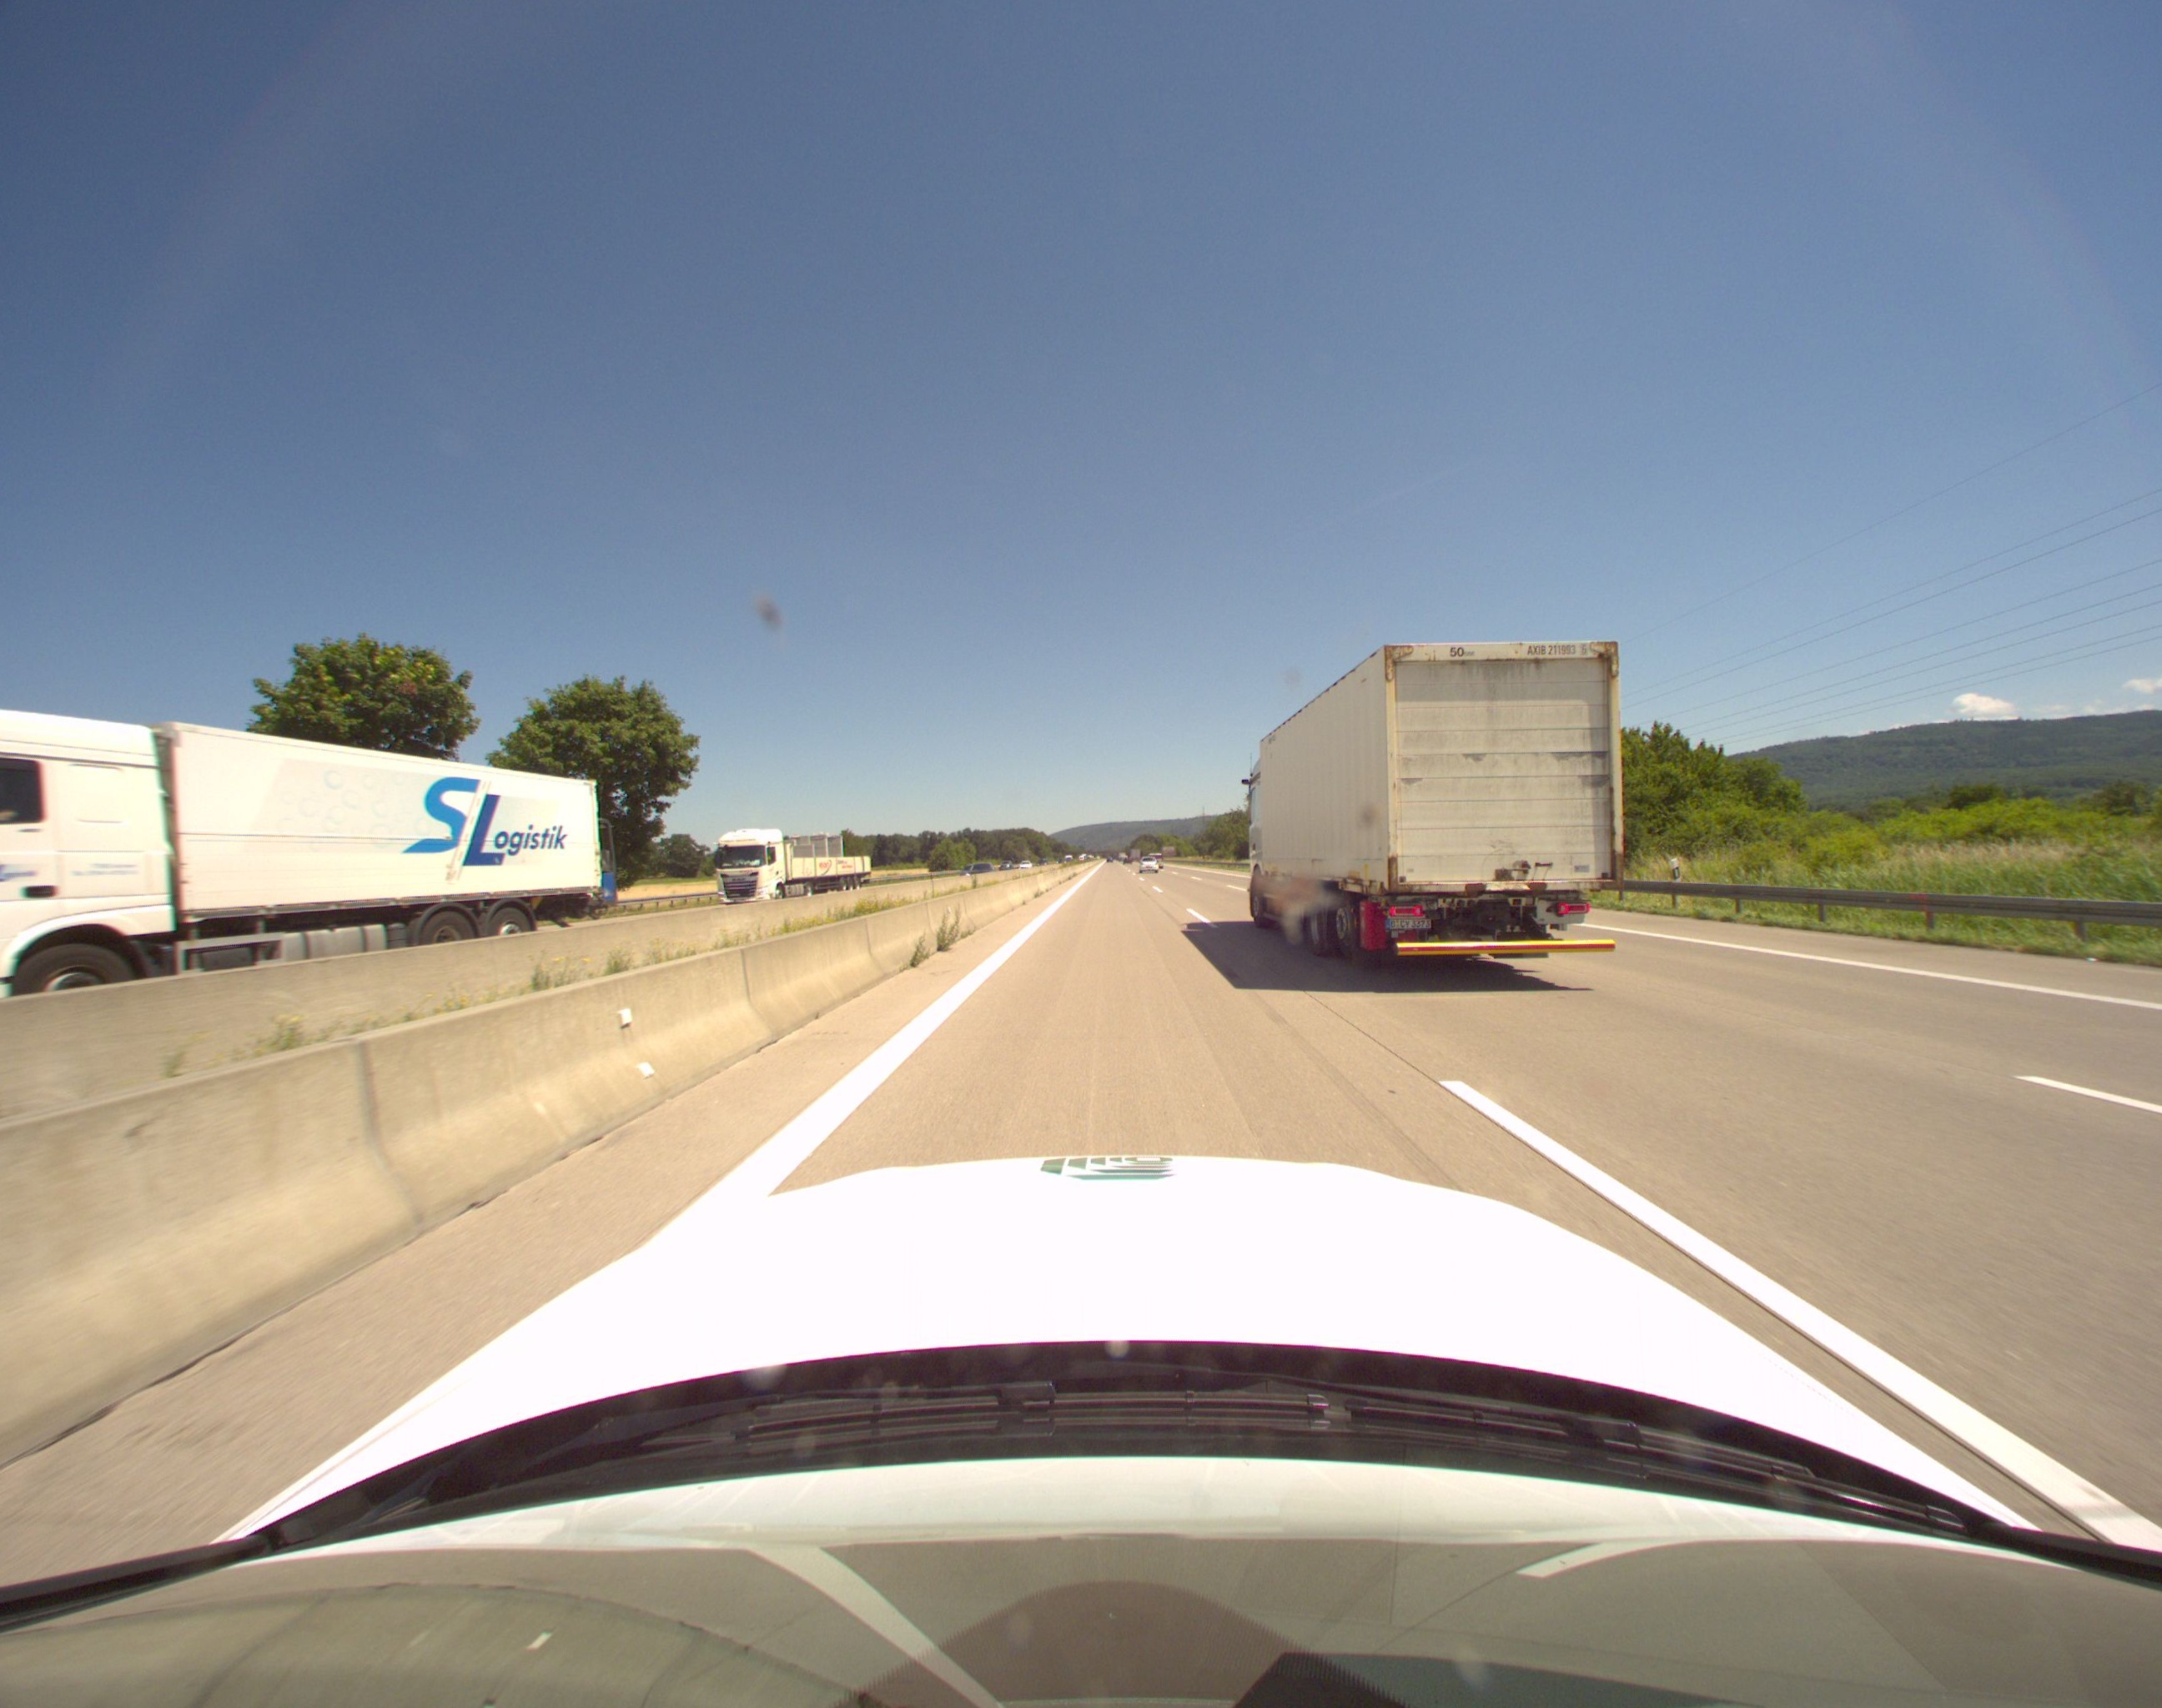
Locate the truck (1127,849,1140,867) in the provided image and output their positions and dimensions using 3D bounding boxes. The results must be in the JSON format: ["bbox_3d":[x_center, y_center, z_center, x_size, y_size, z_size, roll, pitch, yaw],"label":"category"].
[{"bbox_3d":[16.861,1.241,260.756,3.708,5.811,7.053,0,0,0],"label":"truck"}]

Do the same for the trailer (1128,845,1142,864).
[{"bbox_3d":[16.781,0.251,253.875,3.708,5.811,12.161,0,0,1],"label":"trailer"}]

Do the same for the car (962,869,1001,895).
[{"bbox_3d":[-7.017,1.944,57.994,1.986,1.717,5.027,0,0,2],"label":"car"}]

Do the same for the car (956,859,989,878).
[{"bbox_3d":[-9.928,1.308,74.713,1.955,1.717,5.132,-1,0,4],"label":"car"}]

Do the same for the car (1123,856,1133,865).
[{"bbox_3d":[9.804,1.355,170.365,1.987,1.849,4.000,1,0,1],"label":"car"}]

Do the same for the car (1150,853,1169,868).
[{"bbox_3d":[9.682,0.761,100.530,1.986,1.849,4.001,0,0,1],"label":"car"}]

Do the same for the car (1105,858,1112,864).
[{"bbox_3d":[7.937,2.005,231.749,1.922,1.794,4.001,0,0,1],"label":"car"}]

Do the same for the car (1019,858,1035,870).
[{"bbox_3d":[-8.255,1.564,124.787,1.987,1.717,4.611,0,-2,0],"label":"car"}]

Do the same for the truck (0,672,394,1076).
[{"bbox_3d":[-12.022,0.211,9.950,2.890,3.970,5.047,0,0,1],"label":"truck"}]

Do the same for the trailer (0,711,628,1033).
[{"bbox_3d":[-11.898,0.237,14.348,2.890,3.970,8.480,0,0,2],"label":"trailer"}]

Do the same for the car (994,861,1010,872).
[{"bbox_3d":[-12.767,2.002,131.968,1.987,1.717,4.301,0,0,1],"label":"car"}]

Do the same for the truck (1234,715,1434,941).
[{"bbox_3d":[4.815,-0.445,16.507,2.572,3.877,4.985,0,0,1],"label":"truck"}]

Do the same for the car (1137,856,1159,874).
[{"bbox_3d":[6.322,1.009,77.011,1.813,1.662,4.001,-1,0,1],"label":"car"}]

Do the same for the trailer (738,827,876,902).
[{"bbox_3d":[-15.165,0.526,46.860,2.792,3.683,13.756,0,0,2],"label":"trailer"}]

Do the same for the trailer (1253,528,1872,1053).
[{"bbox_3d":[4.658,-0.460,11.230,2.571,3.877,10.375,0,0,1],"label":"trailer"}]

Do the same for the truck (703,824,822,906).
[{"bbox_3d":[-15.461,0.511,40.250,2.792,3.687,7.239,0,0,2],"label":"truck"}]

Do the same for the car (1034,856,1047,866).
[{"bbox_3d":[-7.690,1.374,154.486,1.985,1.878,5.188,0,0,3],"label":"car"}]
